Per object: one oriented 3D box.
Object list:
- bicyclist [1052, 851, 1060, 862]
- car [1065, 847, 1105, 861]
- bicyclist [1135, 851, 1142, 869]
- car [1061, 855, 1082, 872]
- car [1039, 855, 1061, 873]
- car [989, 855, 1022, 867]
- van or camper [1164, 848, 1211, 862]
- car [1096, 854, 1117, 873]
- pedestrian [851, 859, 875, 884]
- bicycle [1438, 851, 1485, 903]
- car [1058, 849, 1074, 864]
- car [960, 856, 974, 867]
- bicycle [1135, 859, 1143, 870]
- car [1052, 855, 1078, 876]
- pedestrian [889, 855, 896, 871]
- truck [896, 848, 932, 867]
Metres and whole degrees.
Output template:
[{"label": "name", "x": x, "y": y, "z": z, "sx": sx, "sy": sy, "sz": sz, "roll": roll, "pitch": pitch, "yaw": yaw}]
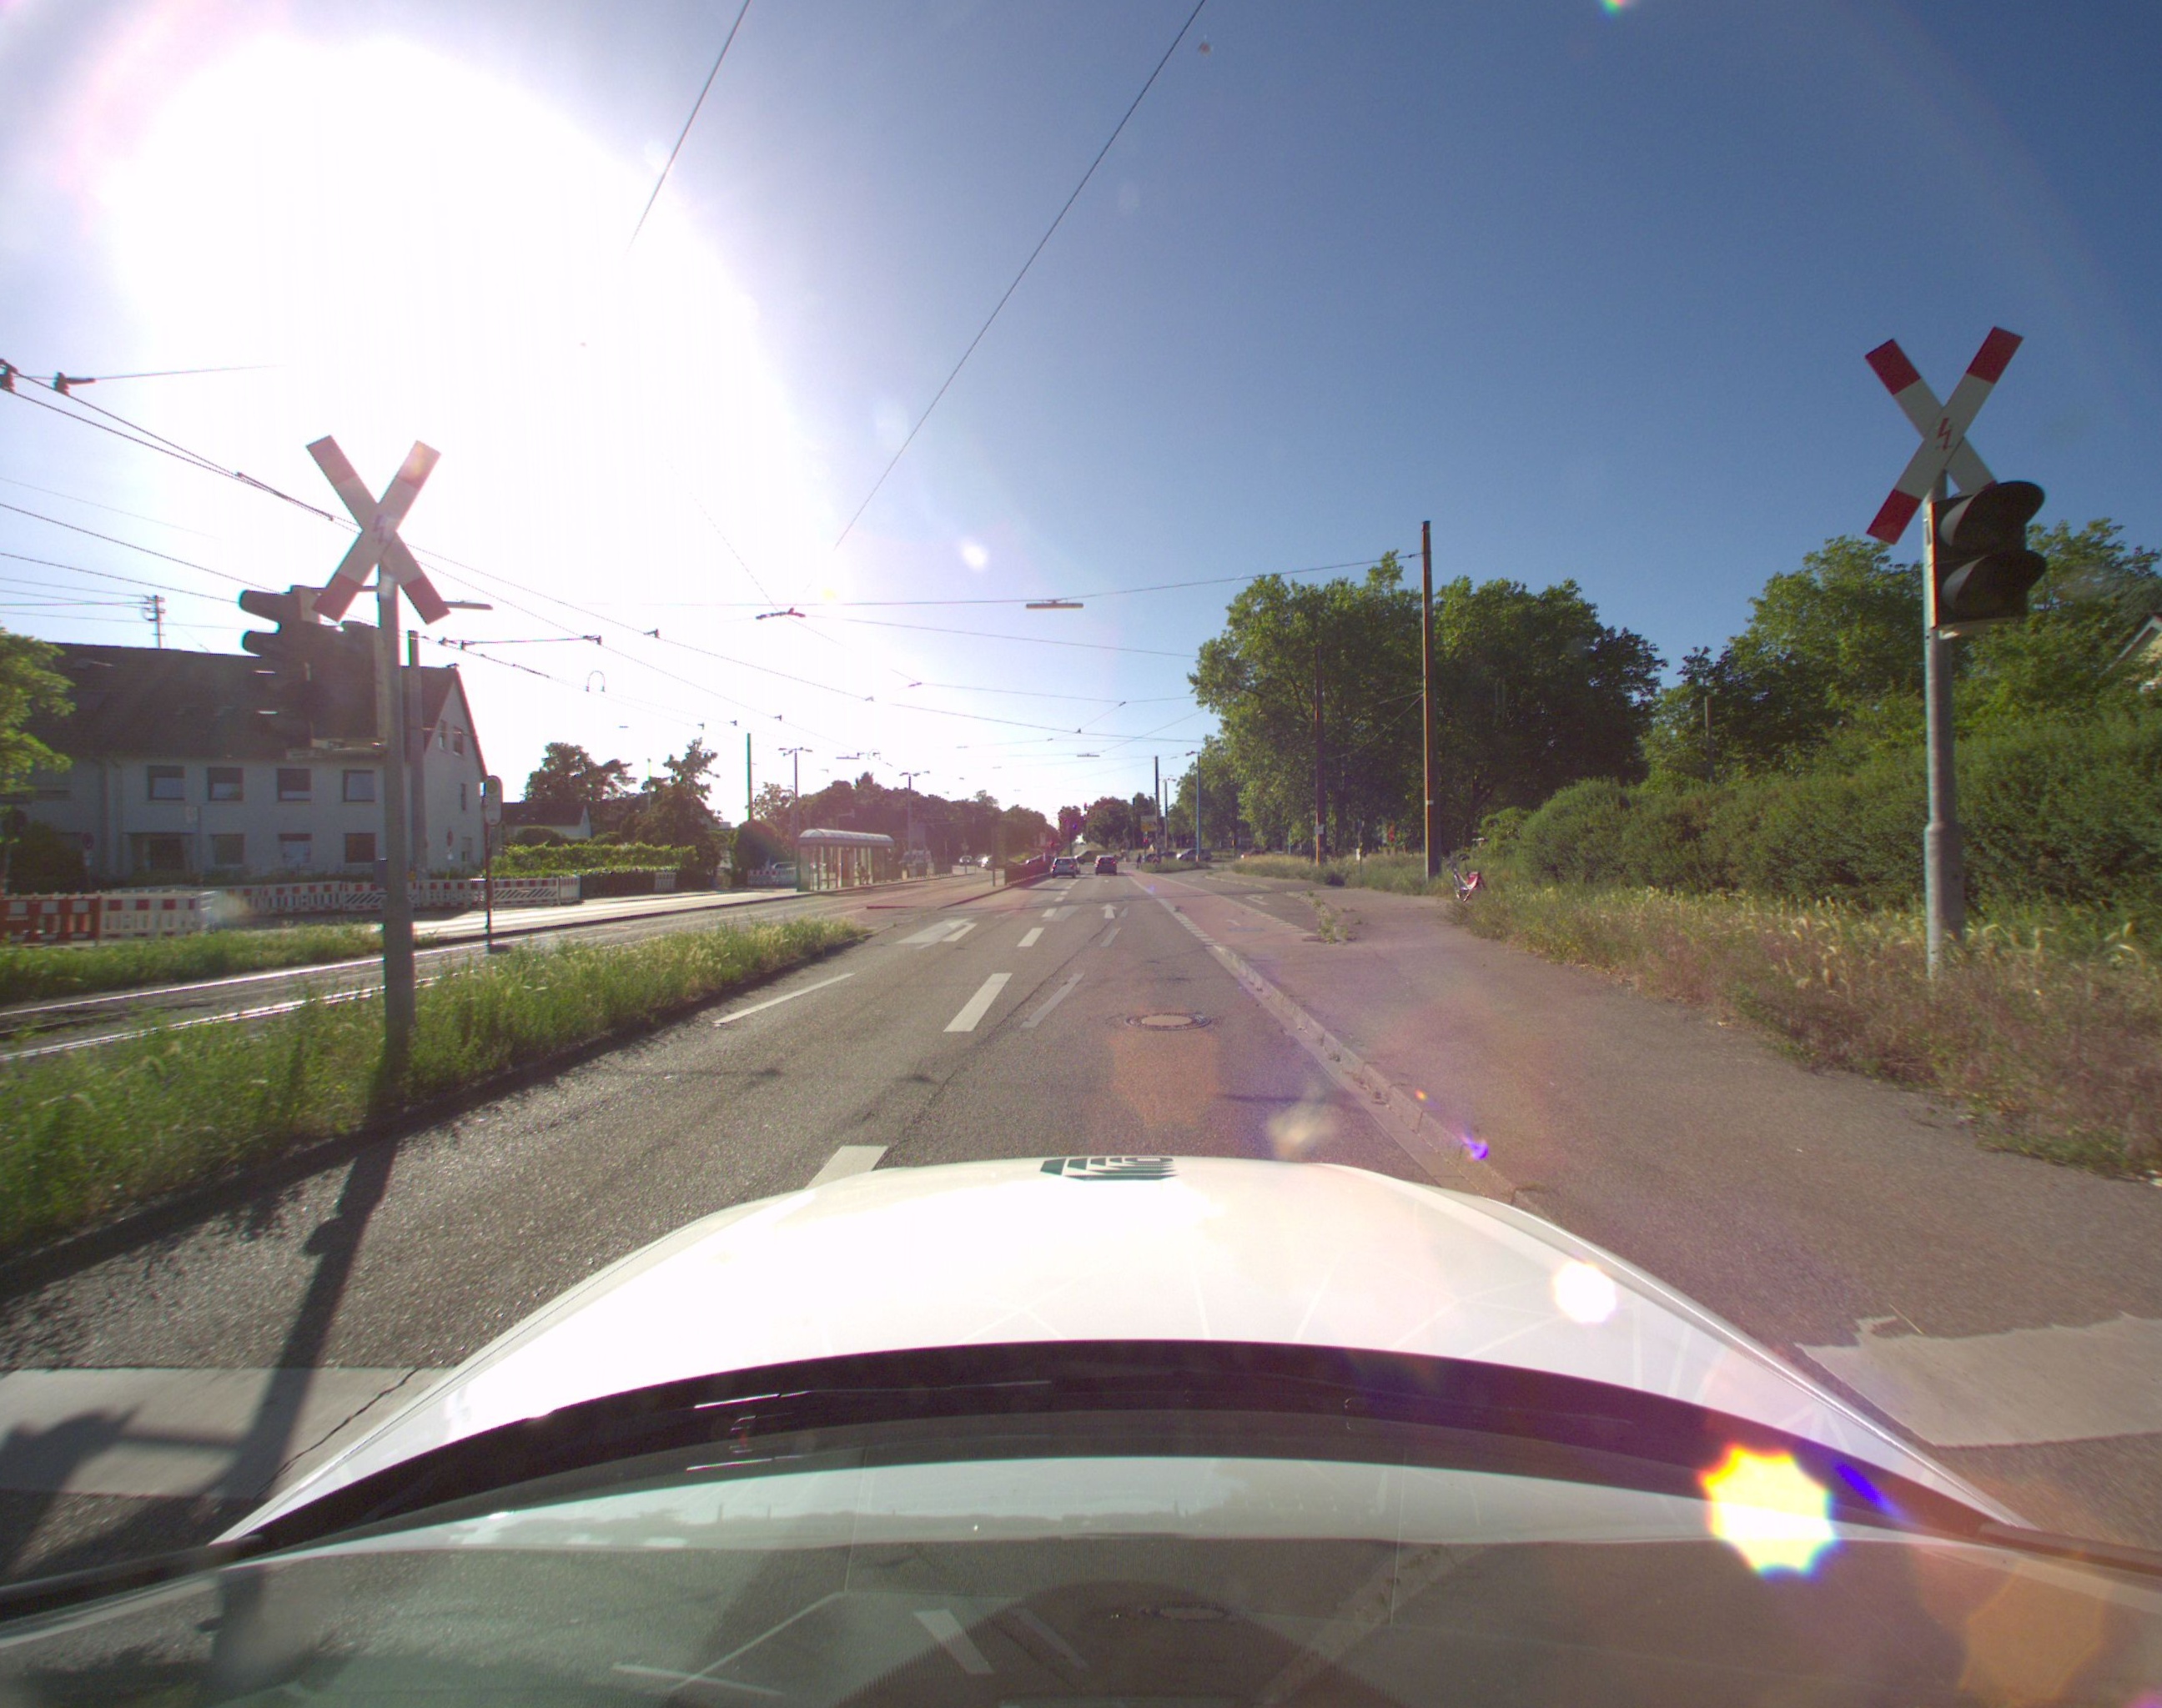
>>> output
[{"label": "bicyclist", "x": -3.620, "y": 0.386, "z": 118.345, "sx": 1.009, "sy": 1.647, "sz": 0.813, "roll": -1, "pitch": 0, "yaw": -16}, {"label": "car", "x": 0.583, "y": -0.039, "z": 111.129, "sx": 5.180, "sy": 1.879, "sz": 1.983, "roll": 0, "pitch": -1, "yaw": -25}, {"label": "bicyclist", "x": 5.643, "y": 0.601, "z": 79.479, "sx": 0.663, "sy": 1.716, "sz": 0.948, "roll": 0, "pitch": -1, "yaw": 1}, {"label": "car", "x": -0.813, "y": 0.800, "z": 71.243, "sx": 1.613, "sy": 1.457, "sz": 4.086, "roll": 0, "pitch": -1, "yaw": 2}, {"label": "car", "x": -2.748, "y": 0.882, "z": 72.474, "sx": 1.605, "sy": 1.562, "sz": 4.289, "roll": -1, "pitch": 0, "yaw": 2}, {"label": "car", "x": -9.847, "y": 0.941, "z": 106.371, "sx": 4.000, "sy": 1.473, "sz": 1.740, "roll": 0, "pitch": -1, "yaw": -20}, {"label": "van or camper", "x": 14.205, "y": 0.136, "z": 108.729, "sx": 5.952, "sy": 1.828, "sz": 1.998, "roll": -1, "pitch": 0, "yaw": -3}, {"label": "car", "x": 2.028, "y": 0.735, "z": 65.472, "sx": 1.662, "sy": 1.462, "sz": 3.587, "roll": -1, "pitch": 0, "yaw": 1}, {"label": "pedestrian", "x": -12.631, "y": 1.009, "z": 47.232, "sx": 1.057, "sy": 1.453, "sz": 1.007, "roll": -2, "pitch": -1, "yaw": 1}, {"label": "bicycle", "x": 8.799, "y": 0.499, "z": 18.902, "sx": 0.363, "sy": 1.135, "sz": 2.101, "roll": -1, "pitch": 0, "yaw": 8}, {"label": "car", "x": -2.082, "y": 0.380, "z": 116.640, "sx": 1.986, "sy": 2.014, "sz": 4.493, "roll": 0, "pitch": -1, "yaw": 2}, {"label": "car", "x": -16.687, "y": 1.066, "z": 119.145, "sx": 1.829, "sy": 1.548, "sz": 3.993, "roll": -1, "pitch": 0, "yaw": -5}, {"label": "bicycle", "x": 5.644, "y": 1.008, "z": 79.554, "sx": 0.719, "sy": 0.989, "sz": 2.876, "roll": 0, "pitch": -1, "yaw": 2}, {"label": "car", "x": -1.105, "y": 0.821, "z": 58.017, "sx": 1.613, "sy": 1.418, "sz": 3.352, "roll": -2, "pitch": -1, "yaw": 2}, {"label": "pedestrian", "x": -24.315, "y": 1.113, "z": 105.050, "sx": 0.748, "sy": 2.013, "sz": 0.789, "roll": -1, "pitch": 0, "yaw": -10}, {"label": "truck", "x": -23.919, "y": 0.482, "z": 117.005, "sx": 1.978, "sy": 2.565, "sz": 6.853, "roll": -1, "pitch": 0, "yaw": 17}]
